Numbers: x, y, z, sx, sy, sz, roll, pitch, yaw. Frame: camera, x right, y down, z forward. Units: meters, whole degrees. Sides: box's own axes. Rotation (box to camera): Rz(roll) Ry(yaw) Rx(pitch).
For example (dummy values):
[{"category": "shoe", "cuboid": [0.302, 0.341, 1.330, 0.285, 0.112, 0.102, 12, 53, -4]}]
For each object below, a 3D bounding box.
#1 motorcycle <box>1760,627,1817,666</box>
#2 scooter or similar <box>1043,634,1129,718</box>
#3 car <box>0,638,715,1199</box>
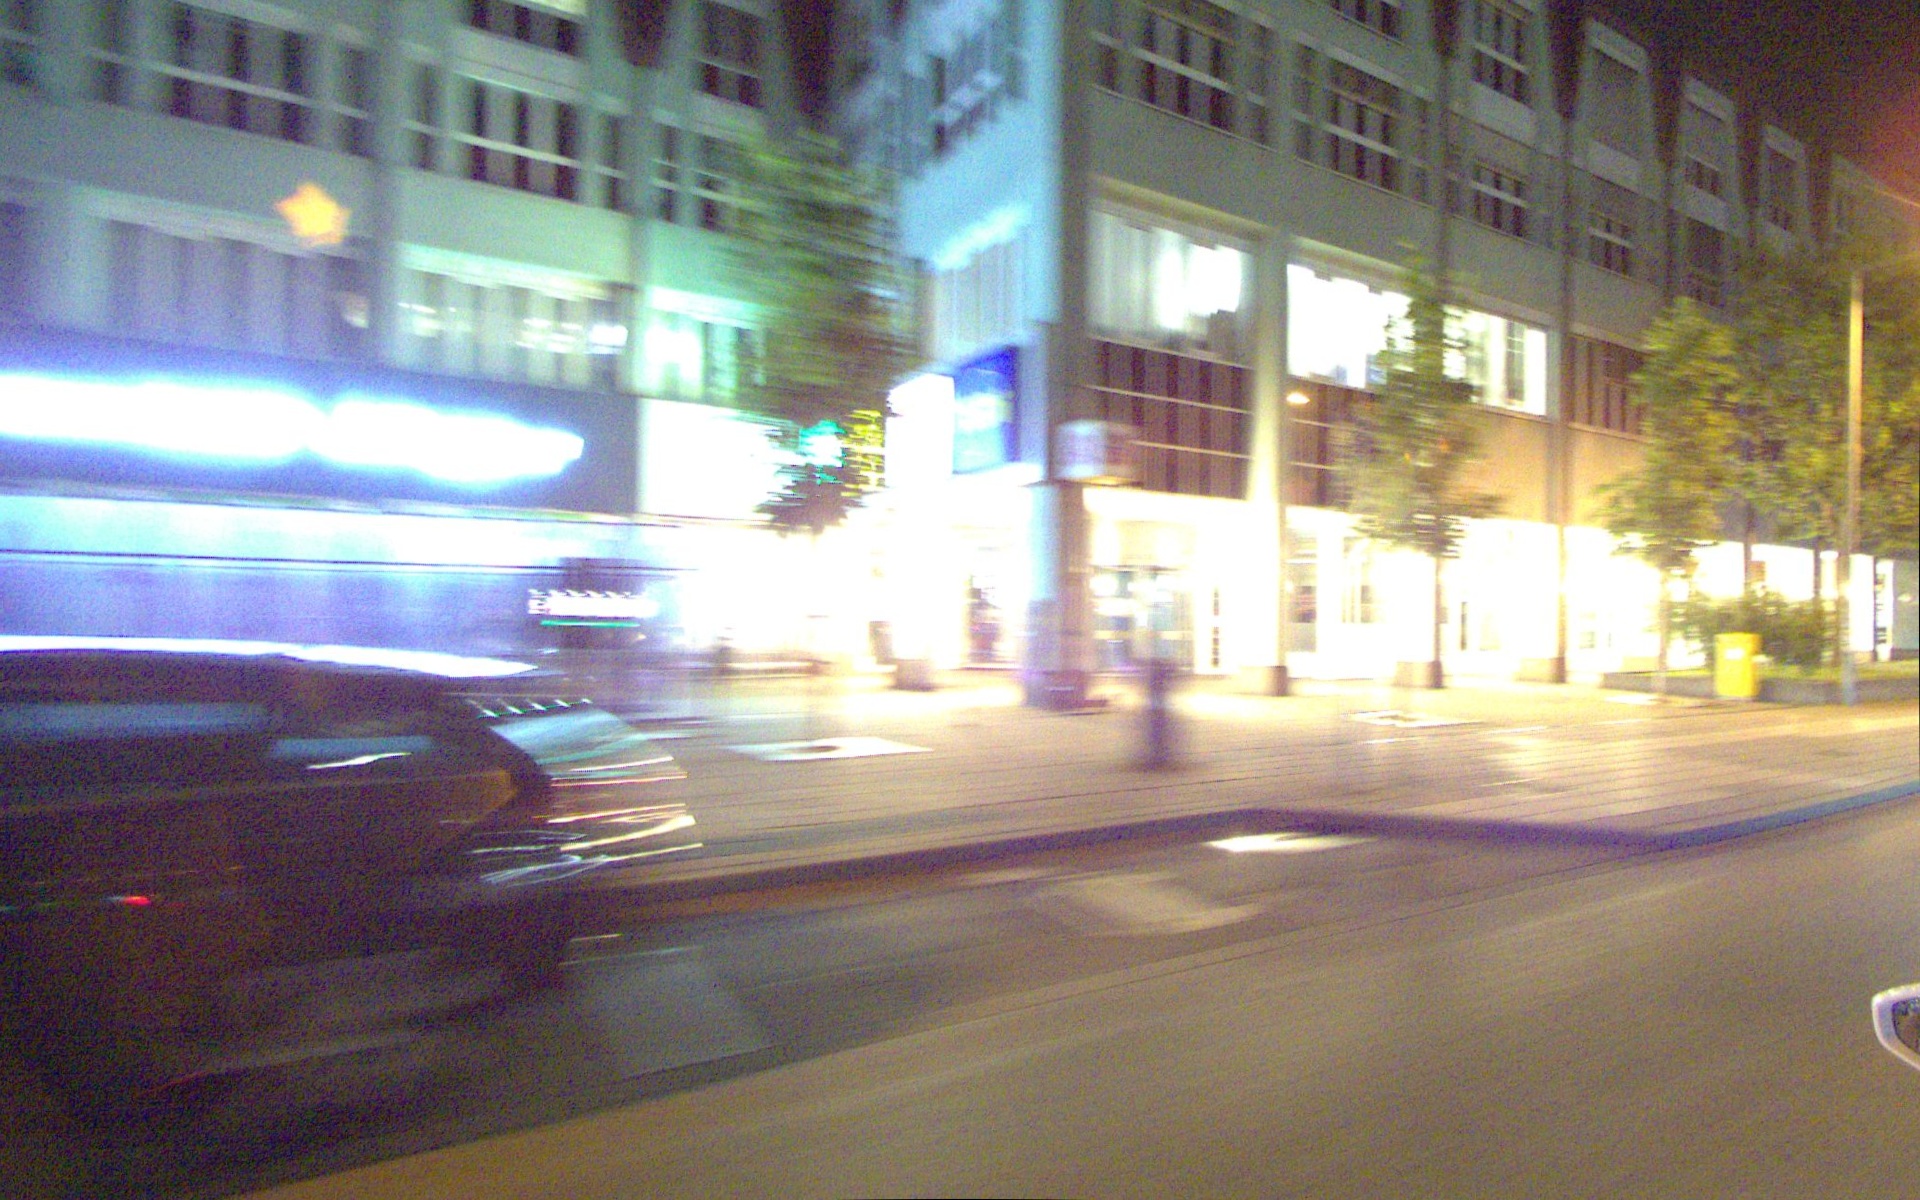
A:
[{"category": "motorcycle", "cuboid": [22.970, 1.282, 27.846, 1.650, 1.034, 0.477, 0, -1, -21]}, {"category": "scooter or similar", "cuboid": [1.928, 1.139, 15.363, 1.327, 1.237, 0.386, 1, -1, -28]}, {"category": "car", "cuboid": [-3.194, 0.875, 3.111, 4.442, 1.432, 1.733, 1, 0, -30]}]
